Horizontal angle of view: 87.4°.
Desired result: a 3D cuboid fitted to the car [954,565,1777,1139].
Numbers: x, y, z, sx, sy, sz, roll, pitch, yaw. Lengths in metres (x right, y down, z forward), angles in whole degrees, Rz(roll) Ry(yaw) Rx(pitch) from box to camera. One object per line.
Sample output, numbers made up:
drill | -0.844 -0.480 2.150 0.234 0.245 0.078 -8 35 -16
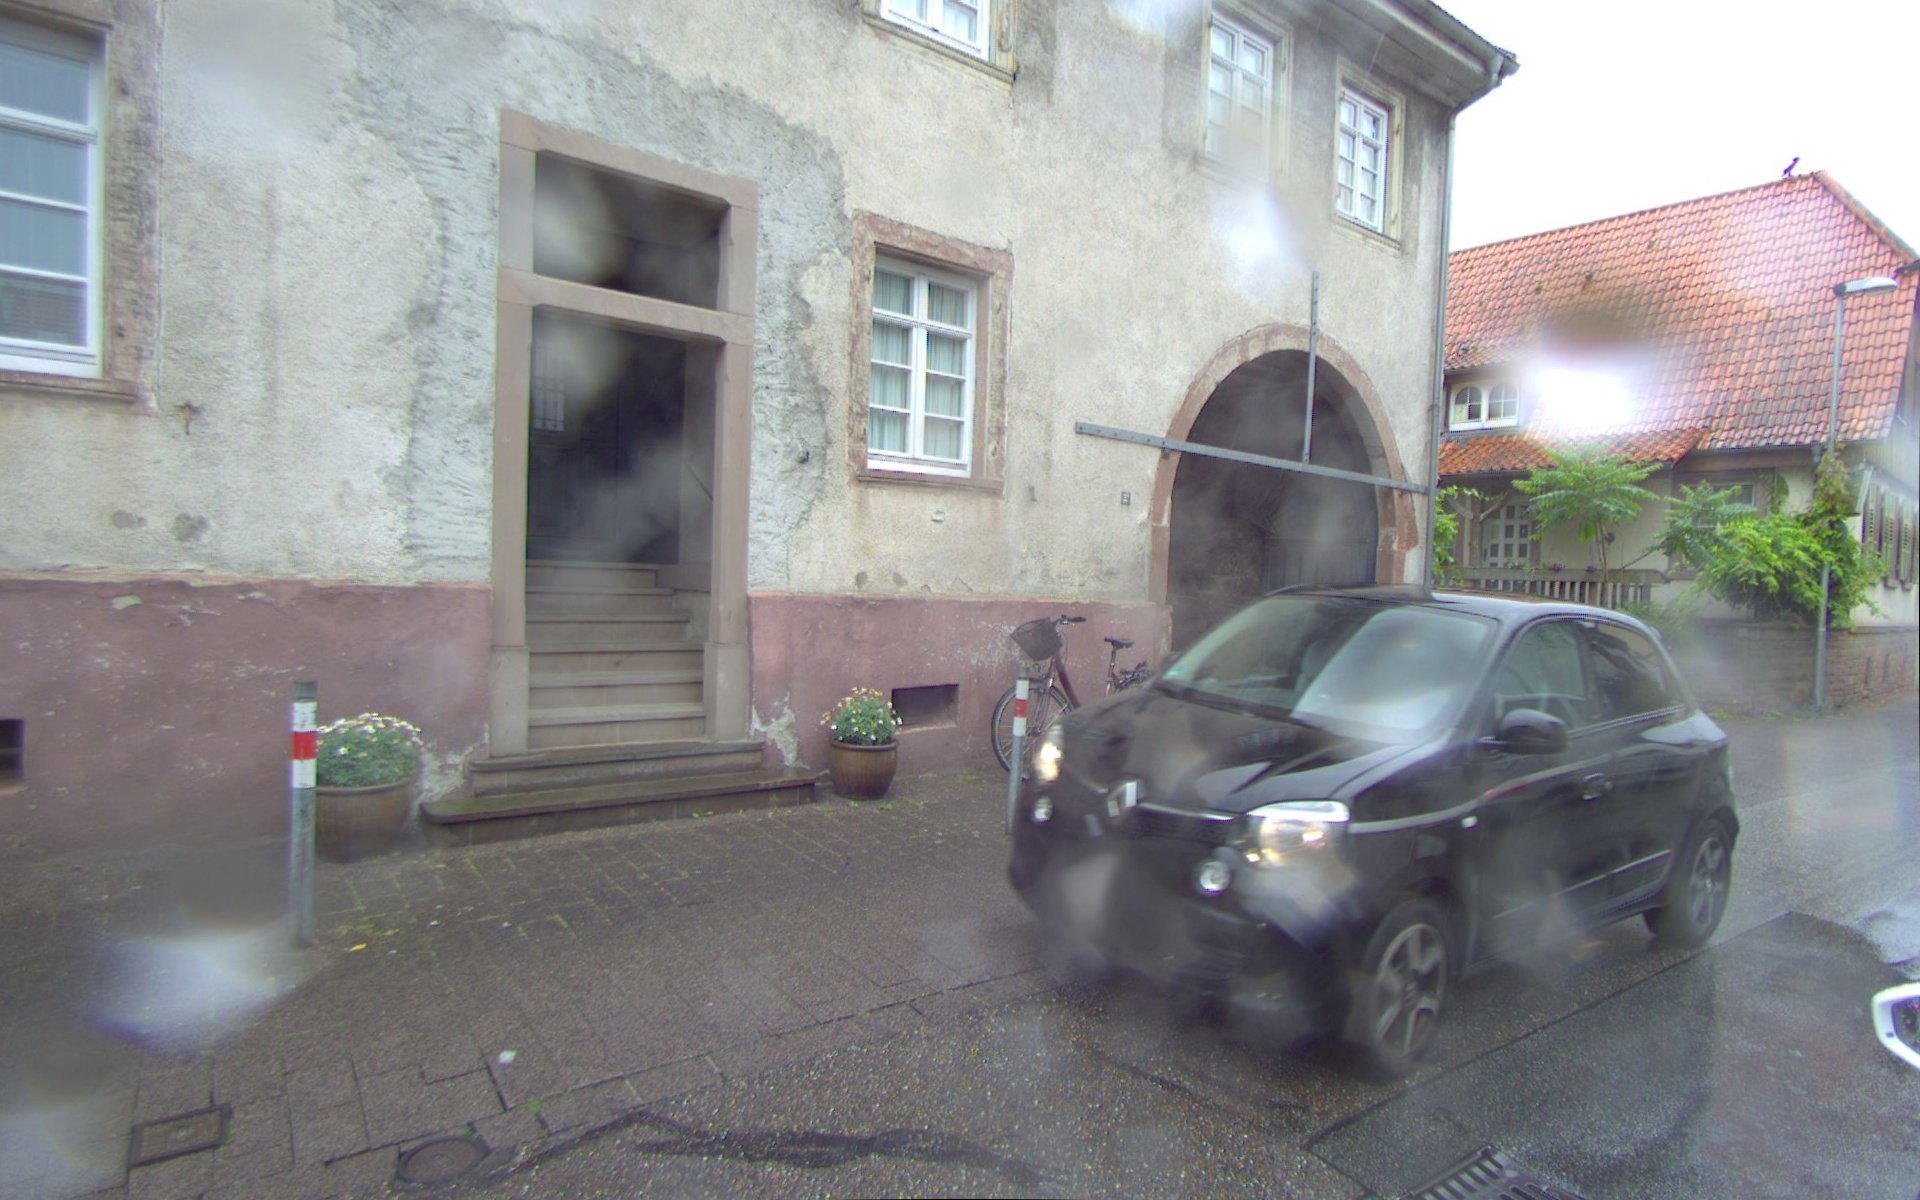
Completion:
car | 1.939 0.701 4.409 3.651 1.533 1.593 2 1 -35

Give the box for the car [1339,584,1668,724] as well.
car | 7.988 0.704 15.164 1.715 1.444 3.967 2 5 -30

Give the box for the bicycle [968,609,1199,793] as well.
bicycle | 0.959 0.690 7.455 1.858 1.194 0.478 1 4 -38

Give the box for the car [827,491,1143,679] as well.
car | 0.160 -0.303 13.529 1.869 1.957 4.194 6 3 -37
